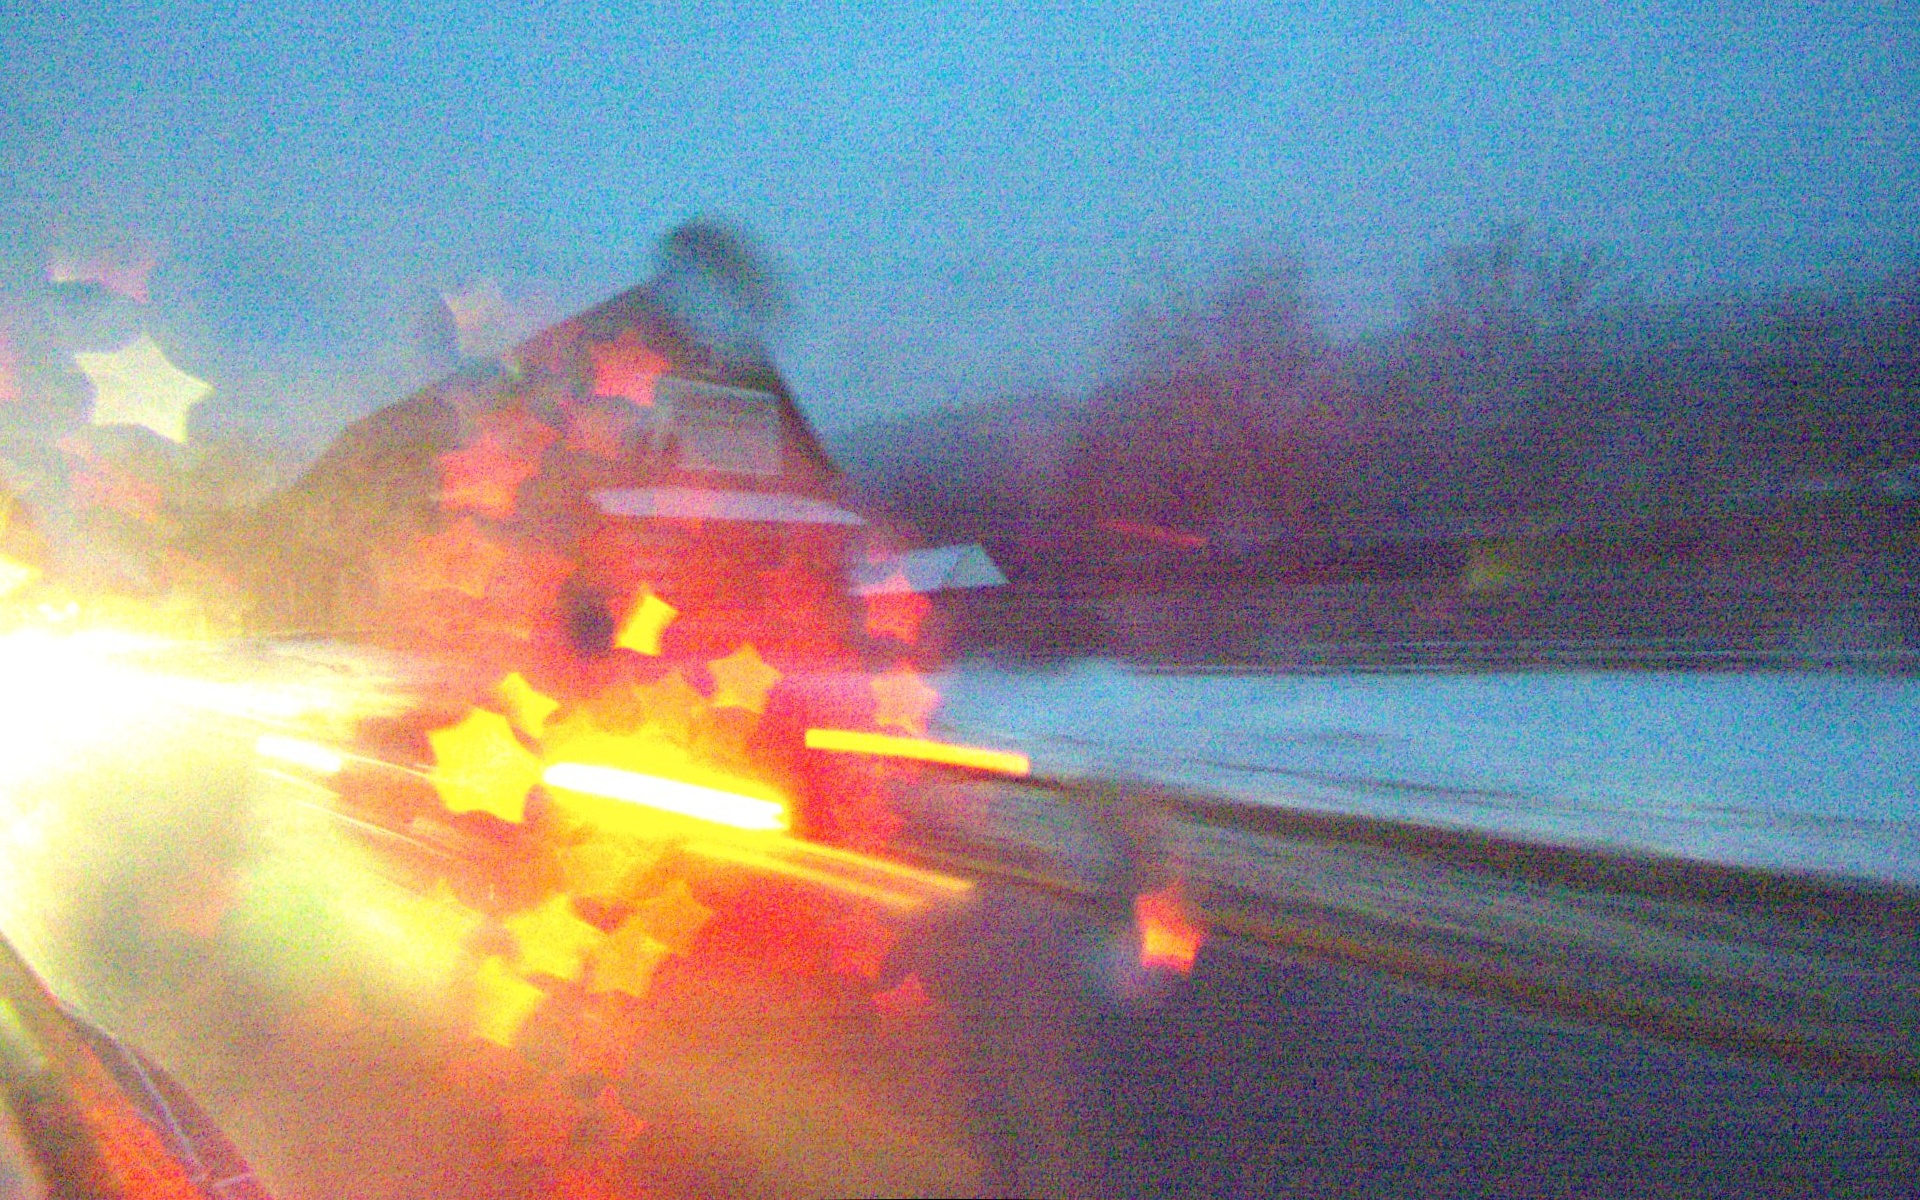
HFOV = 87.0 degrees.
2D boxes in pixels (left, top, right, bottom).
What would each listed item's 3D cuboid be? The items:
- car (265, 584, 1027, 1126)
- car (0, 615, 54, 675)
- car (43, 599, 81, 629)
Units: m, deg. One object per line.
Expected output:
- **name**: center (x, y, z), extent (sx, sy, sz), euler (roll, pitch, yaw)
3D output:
- **car**: center (-1.674, 0.740, 4.794), extent (3.613, 1.520, 1.783), euler (0, 2, 41)
- **car**: center (-26.107, 1.169, 27.289), extent (4.896, 1.471, 1.973), euler (0, 0, 41)
- **car**: center (-67.248, 1.033, 75.819), extent (1.894, 2.072, 4.896), euler (-3, 2, -40)
